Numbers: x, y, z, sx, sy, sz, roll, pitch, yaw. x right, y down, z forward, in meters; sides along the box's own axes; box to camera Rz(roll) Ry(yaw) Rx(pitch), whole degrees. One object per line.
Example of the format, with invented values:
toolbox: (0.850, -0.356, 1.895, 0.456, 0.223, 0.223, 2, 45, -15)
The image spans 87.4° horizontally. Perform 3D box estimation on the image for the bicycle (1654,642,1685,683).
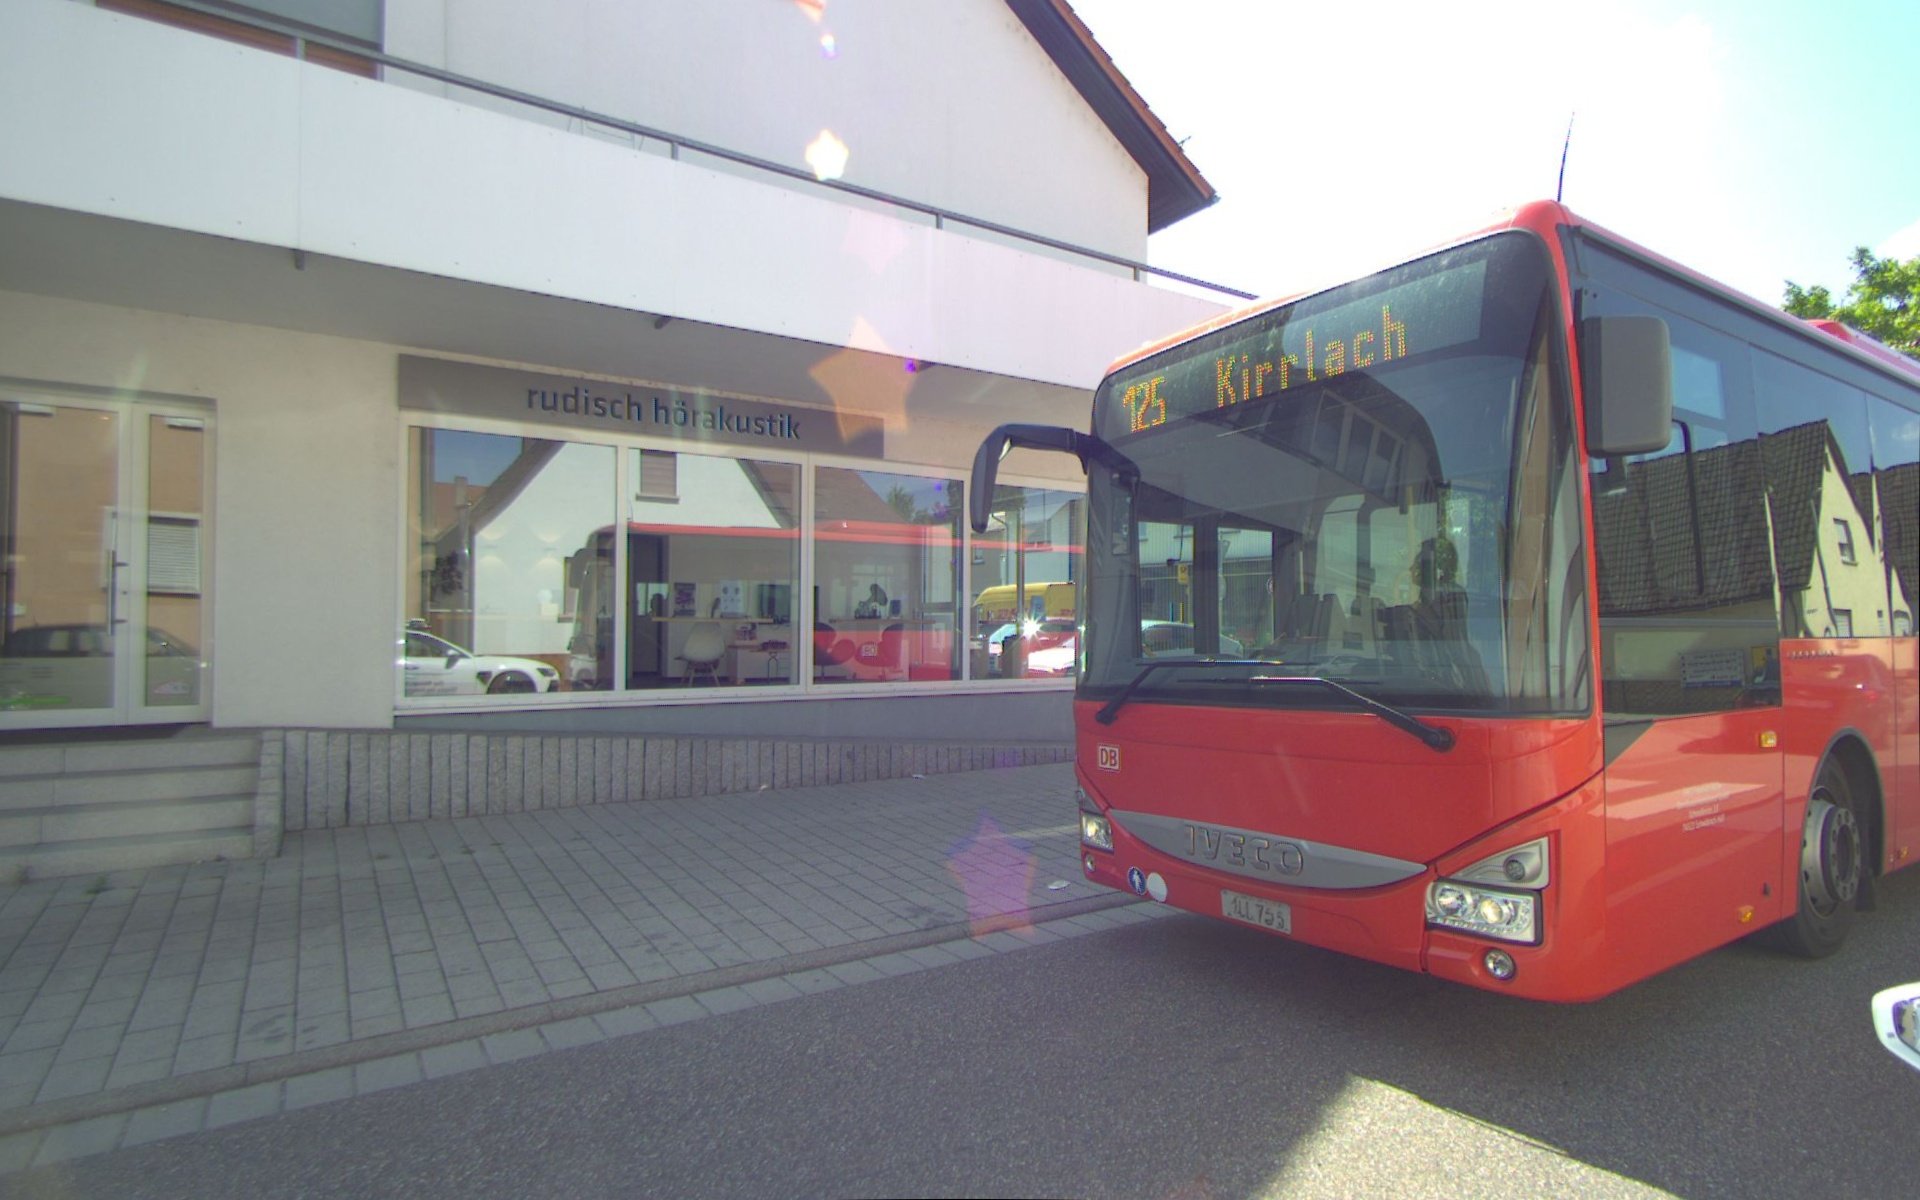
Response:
bicycle: (19.996, 1.747, 28.300, 0.396, 1.017, 1.970, -1, 0, 44)

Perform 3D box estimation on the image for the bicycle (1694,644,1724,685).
bicycle: (20.632, 1.763, 27.669, 0.396, 1.017, 1.970, -1, 0, 44)

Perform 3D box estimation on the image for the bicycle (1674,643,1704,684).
bicycle: (20.324, 1.755, 27.997, 0.396, 1.017, 1.970, -1, 0, 44)

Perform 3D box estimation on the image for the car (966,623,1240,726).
car: (2.425, 1.154, 16.515, 4.433, 1.470, 1.819, 2, -2, -35)

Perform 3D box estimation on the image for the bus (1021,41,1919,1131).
bus: (5.971, 0.085, 7.450, 11.898, 3.274, 2.611, 1, -3, -34)
